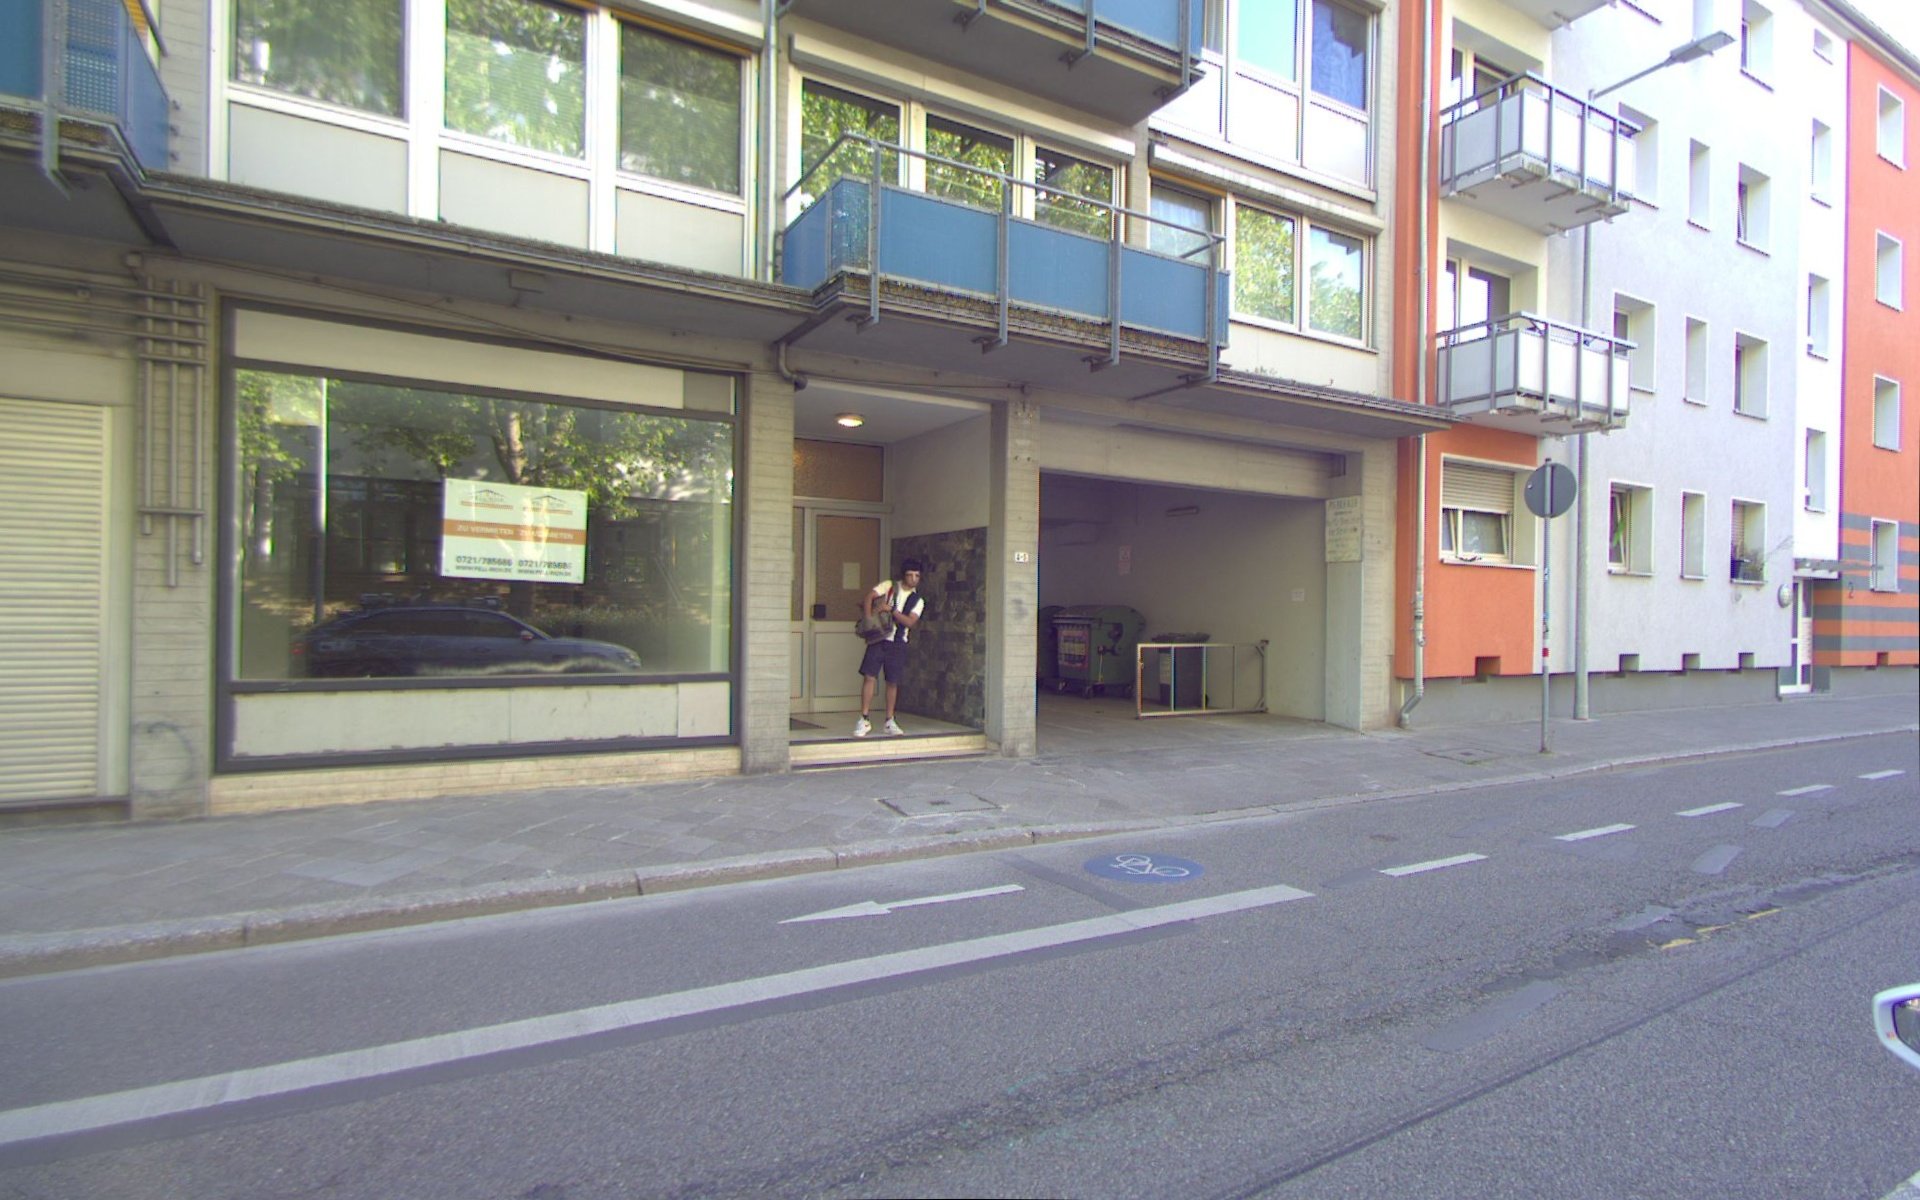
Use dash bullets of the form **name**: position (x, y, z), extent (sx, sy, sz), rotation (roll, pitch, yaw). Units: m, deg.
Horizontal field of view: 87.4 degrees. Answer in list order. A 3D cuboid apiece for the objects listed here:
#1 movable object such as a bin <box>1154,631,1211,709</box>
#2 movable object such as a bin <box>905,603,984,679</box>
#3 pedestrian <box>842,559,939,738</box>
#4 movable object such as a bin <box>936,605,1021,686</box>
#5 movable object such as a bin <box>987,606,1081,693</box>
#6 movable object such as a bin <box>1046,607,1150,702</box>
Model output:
- **movable object such as a bin**: position (3.231, 1.005, 14.617), extent (0.646, 1.102, 0.487), rotation (1, 0, -30)
- **movable object such as a bin**: position (-0.322, 0.792, 20.005), extent (1.067, 1.433, 1.312), rotation (1, 0, -30)
- **pedestrian**: position (-0.653, 0.443, 9.424), extent (0.747, 1.600, 0.511), rotation (1, 0, -30)
- **movable object such as a bin**: position (0.330, 0.826, 18.796), extent (1.067, 1.433, 1.312), rotation (1, 0, -30)
- **movable object such as a bin**: position (1.258, 0.825, 17.345), extent (1.067, 1.433, 1.312), rotation (1, 0, -30)
- **movable object such as a bin**: position (2.183, 0.832, 15.981), extent (1.067, 1.433, 1.312), rotation (1, 0, -30)
